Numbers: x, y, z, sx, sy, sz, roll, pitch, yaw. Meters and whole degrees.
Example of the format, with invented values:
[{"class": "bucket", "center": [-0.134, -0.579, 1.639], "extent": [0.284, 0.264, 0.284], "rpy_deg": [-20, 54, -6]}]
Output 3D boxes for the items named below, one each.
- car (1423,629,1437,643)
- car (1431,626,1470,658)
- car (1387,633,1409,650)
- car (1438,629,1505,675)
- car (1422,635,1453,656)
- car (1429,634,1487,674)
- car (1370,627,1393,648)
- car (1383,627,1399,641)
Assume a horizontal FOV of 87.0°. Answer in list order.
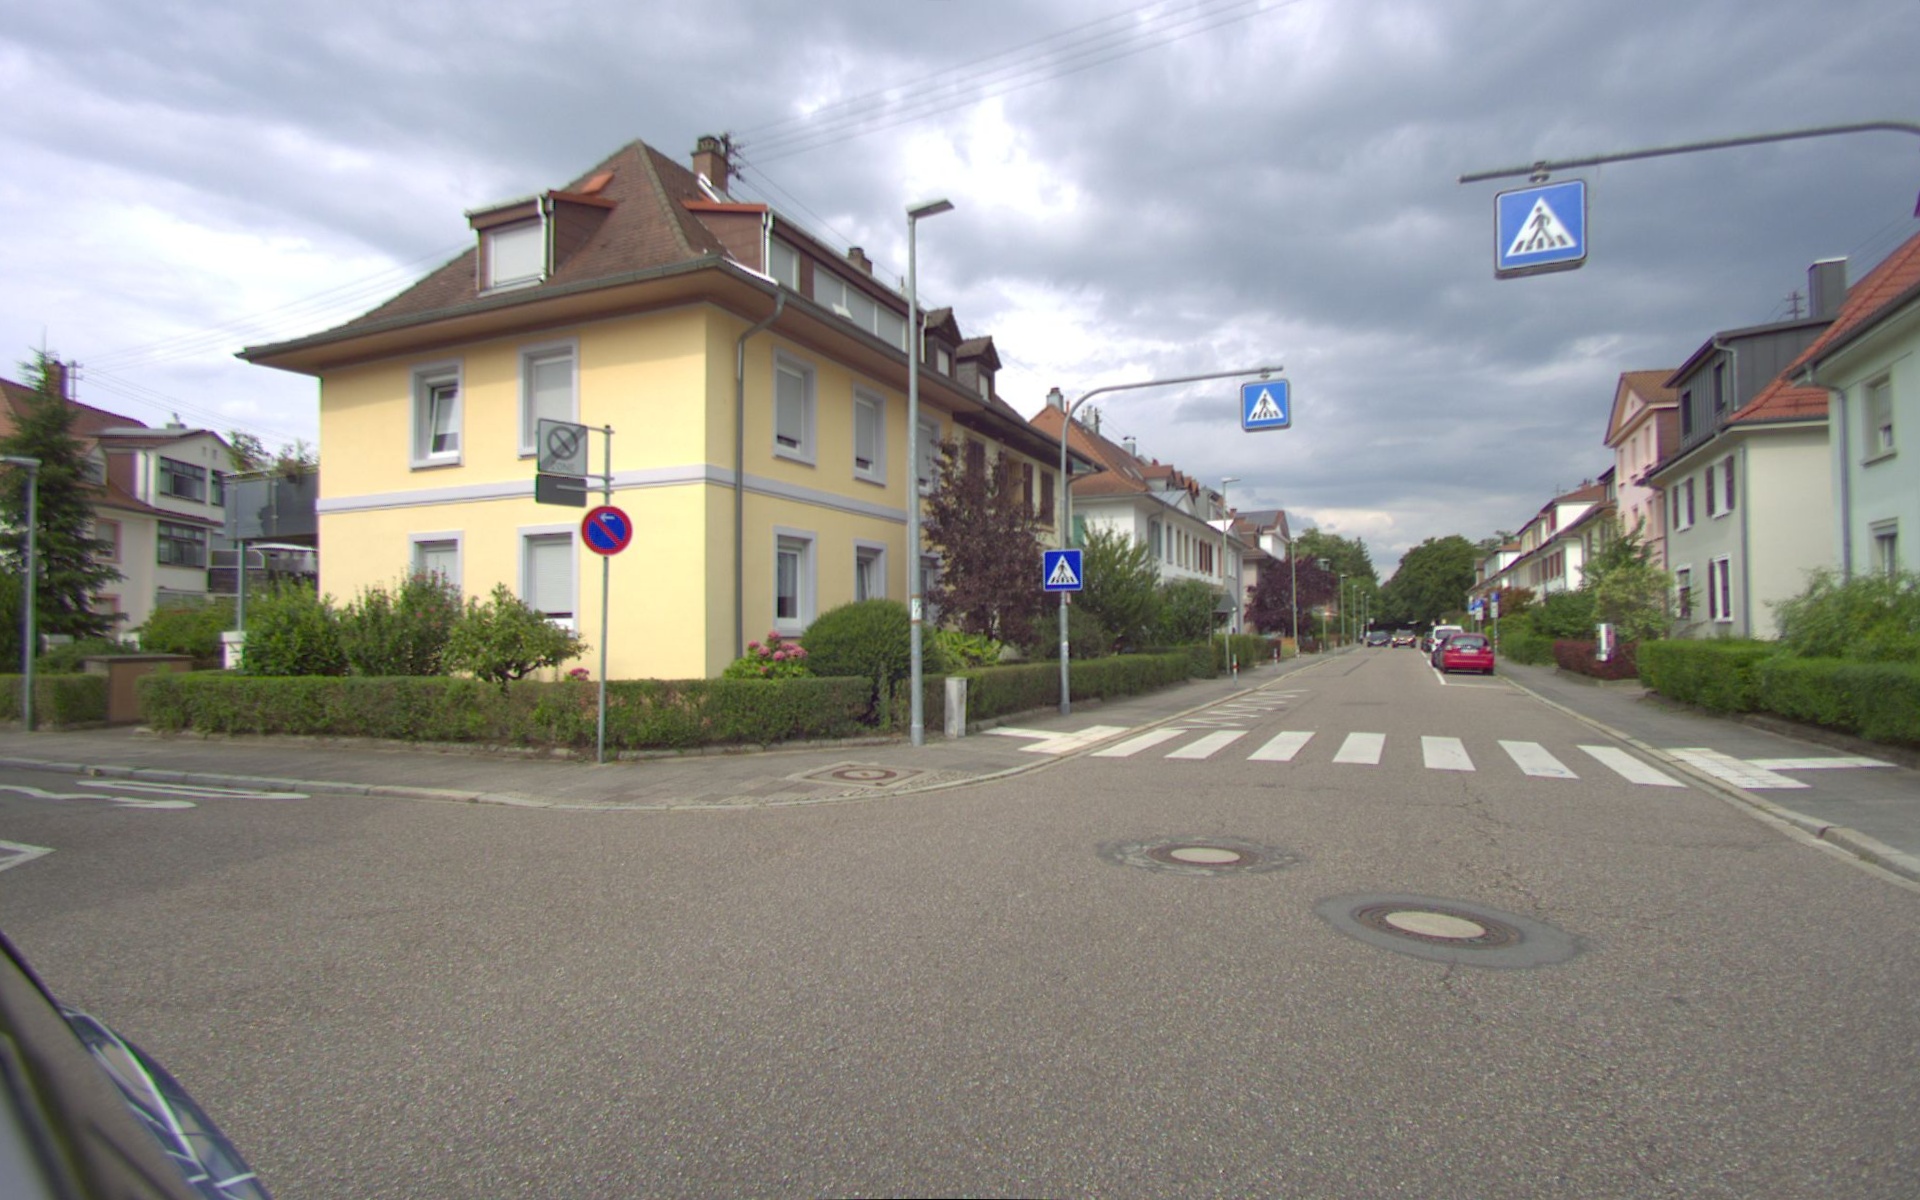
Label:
[{"class": "car", "center": [74.066, 5.657, 159.509], "extent": [1.988, 2.029, 3.967], "rpy_deg": [0, -2, 24]}, {"class": "car", "center": [30.594, 2.593, 63.208], "extent": [1.988, 1.918, 3.967], "rpy_deg": [-2, -2, 24]}, {"class": "car", "center": [40.769, 3.858, 94.188], "extent": [1.825, 1.497, 3.969], "rpy_deg": [0, -2, 23]}, {"class": "car", "center": [19.020, 1.910, 37.774], "extent": [1.988, 1.586, 3.967], "rpy_deg": [-2, -2, 24]}, {"class": "car", "center": [36.086, 3.441, 76.625], "extent": [1.988, 1.586, 3.967], "rpy_deg": [-2, -2, 24]}, {"class": "car", "center": [20.912, 2.235, 42.603], "extent": [1.988, 1.586, 3.967], "rpy_deg": [-2, -2, 24]}, {"class": "car", "center": [42.223, 3.717, 101.368], "extent": [1.988, 2.029, 3.967], "rpy_deg": [-1, -2, 24]}, {"class": "car", "center": [56.437, 4.450, 132.458], "extent": [1.801, 1.894, 3.916], "rpy_deg": [-2, -2, 24]}]
